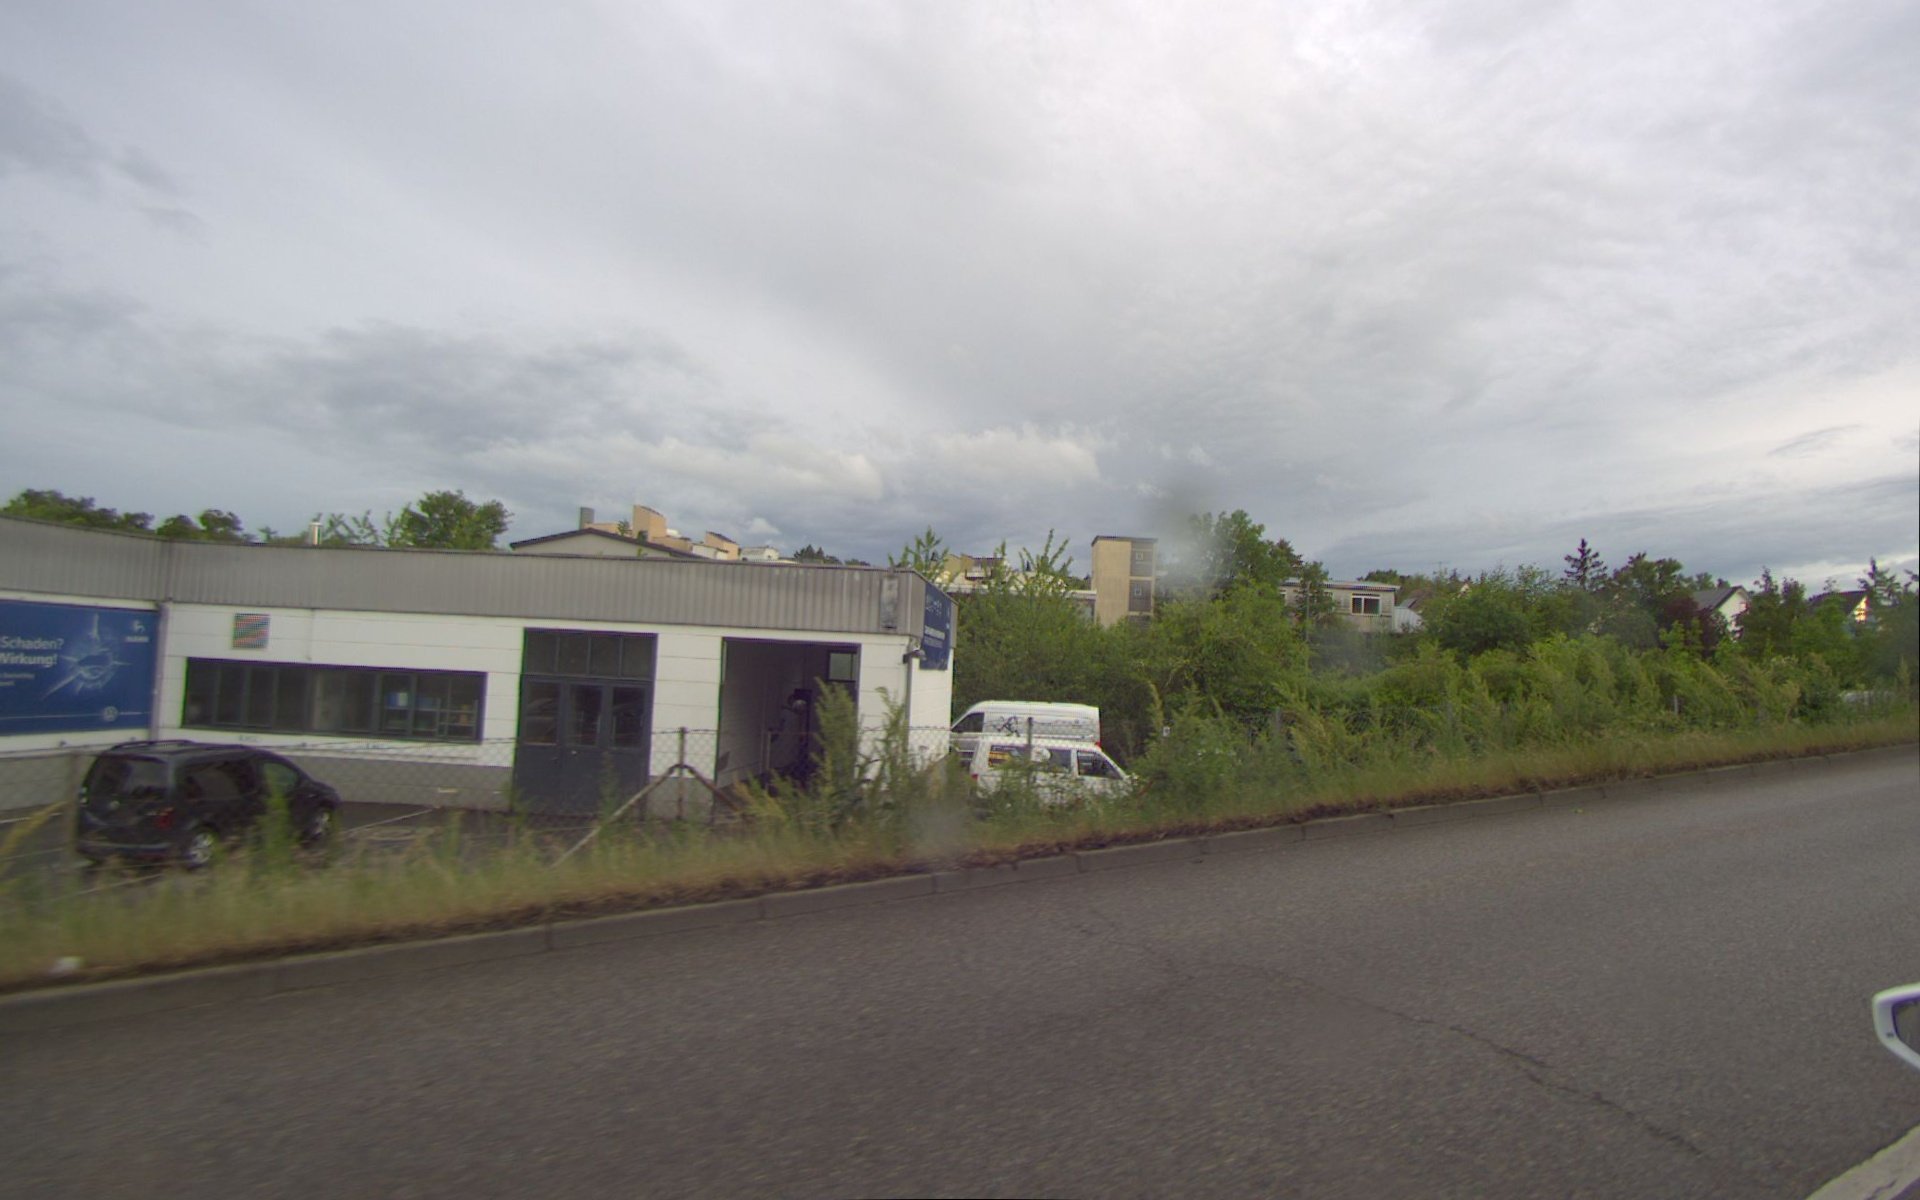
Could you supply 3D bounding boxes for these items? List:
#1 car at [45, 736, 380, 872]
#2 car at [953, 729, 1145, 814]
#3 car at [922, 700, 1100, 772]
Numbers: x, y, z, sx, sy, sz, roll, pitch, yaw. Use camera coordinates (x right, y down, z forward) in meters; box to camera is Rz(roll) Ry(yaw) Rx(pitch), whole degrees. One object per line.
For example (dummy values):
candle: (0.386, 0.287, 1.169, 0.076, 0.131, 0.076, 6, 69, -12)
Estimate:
car: (-12.361, 3.320, 17.114, 1.830, 1.826, 4.648, -3, -7, 7)
car: (2.149, 4.244, 25.093, 4.549, 1.826, 1.869, -2, -6, 0)
car: (1.873, 5.072, 37.618, 6.464, 2.492, 1.987, -1, -6, 1)
